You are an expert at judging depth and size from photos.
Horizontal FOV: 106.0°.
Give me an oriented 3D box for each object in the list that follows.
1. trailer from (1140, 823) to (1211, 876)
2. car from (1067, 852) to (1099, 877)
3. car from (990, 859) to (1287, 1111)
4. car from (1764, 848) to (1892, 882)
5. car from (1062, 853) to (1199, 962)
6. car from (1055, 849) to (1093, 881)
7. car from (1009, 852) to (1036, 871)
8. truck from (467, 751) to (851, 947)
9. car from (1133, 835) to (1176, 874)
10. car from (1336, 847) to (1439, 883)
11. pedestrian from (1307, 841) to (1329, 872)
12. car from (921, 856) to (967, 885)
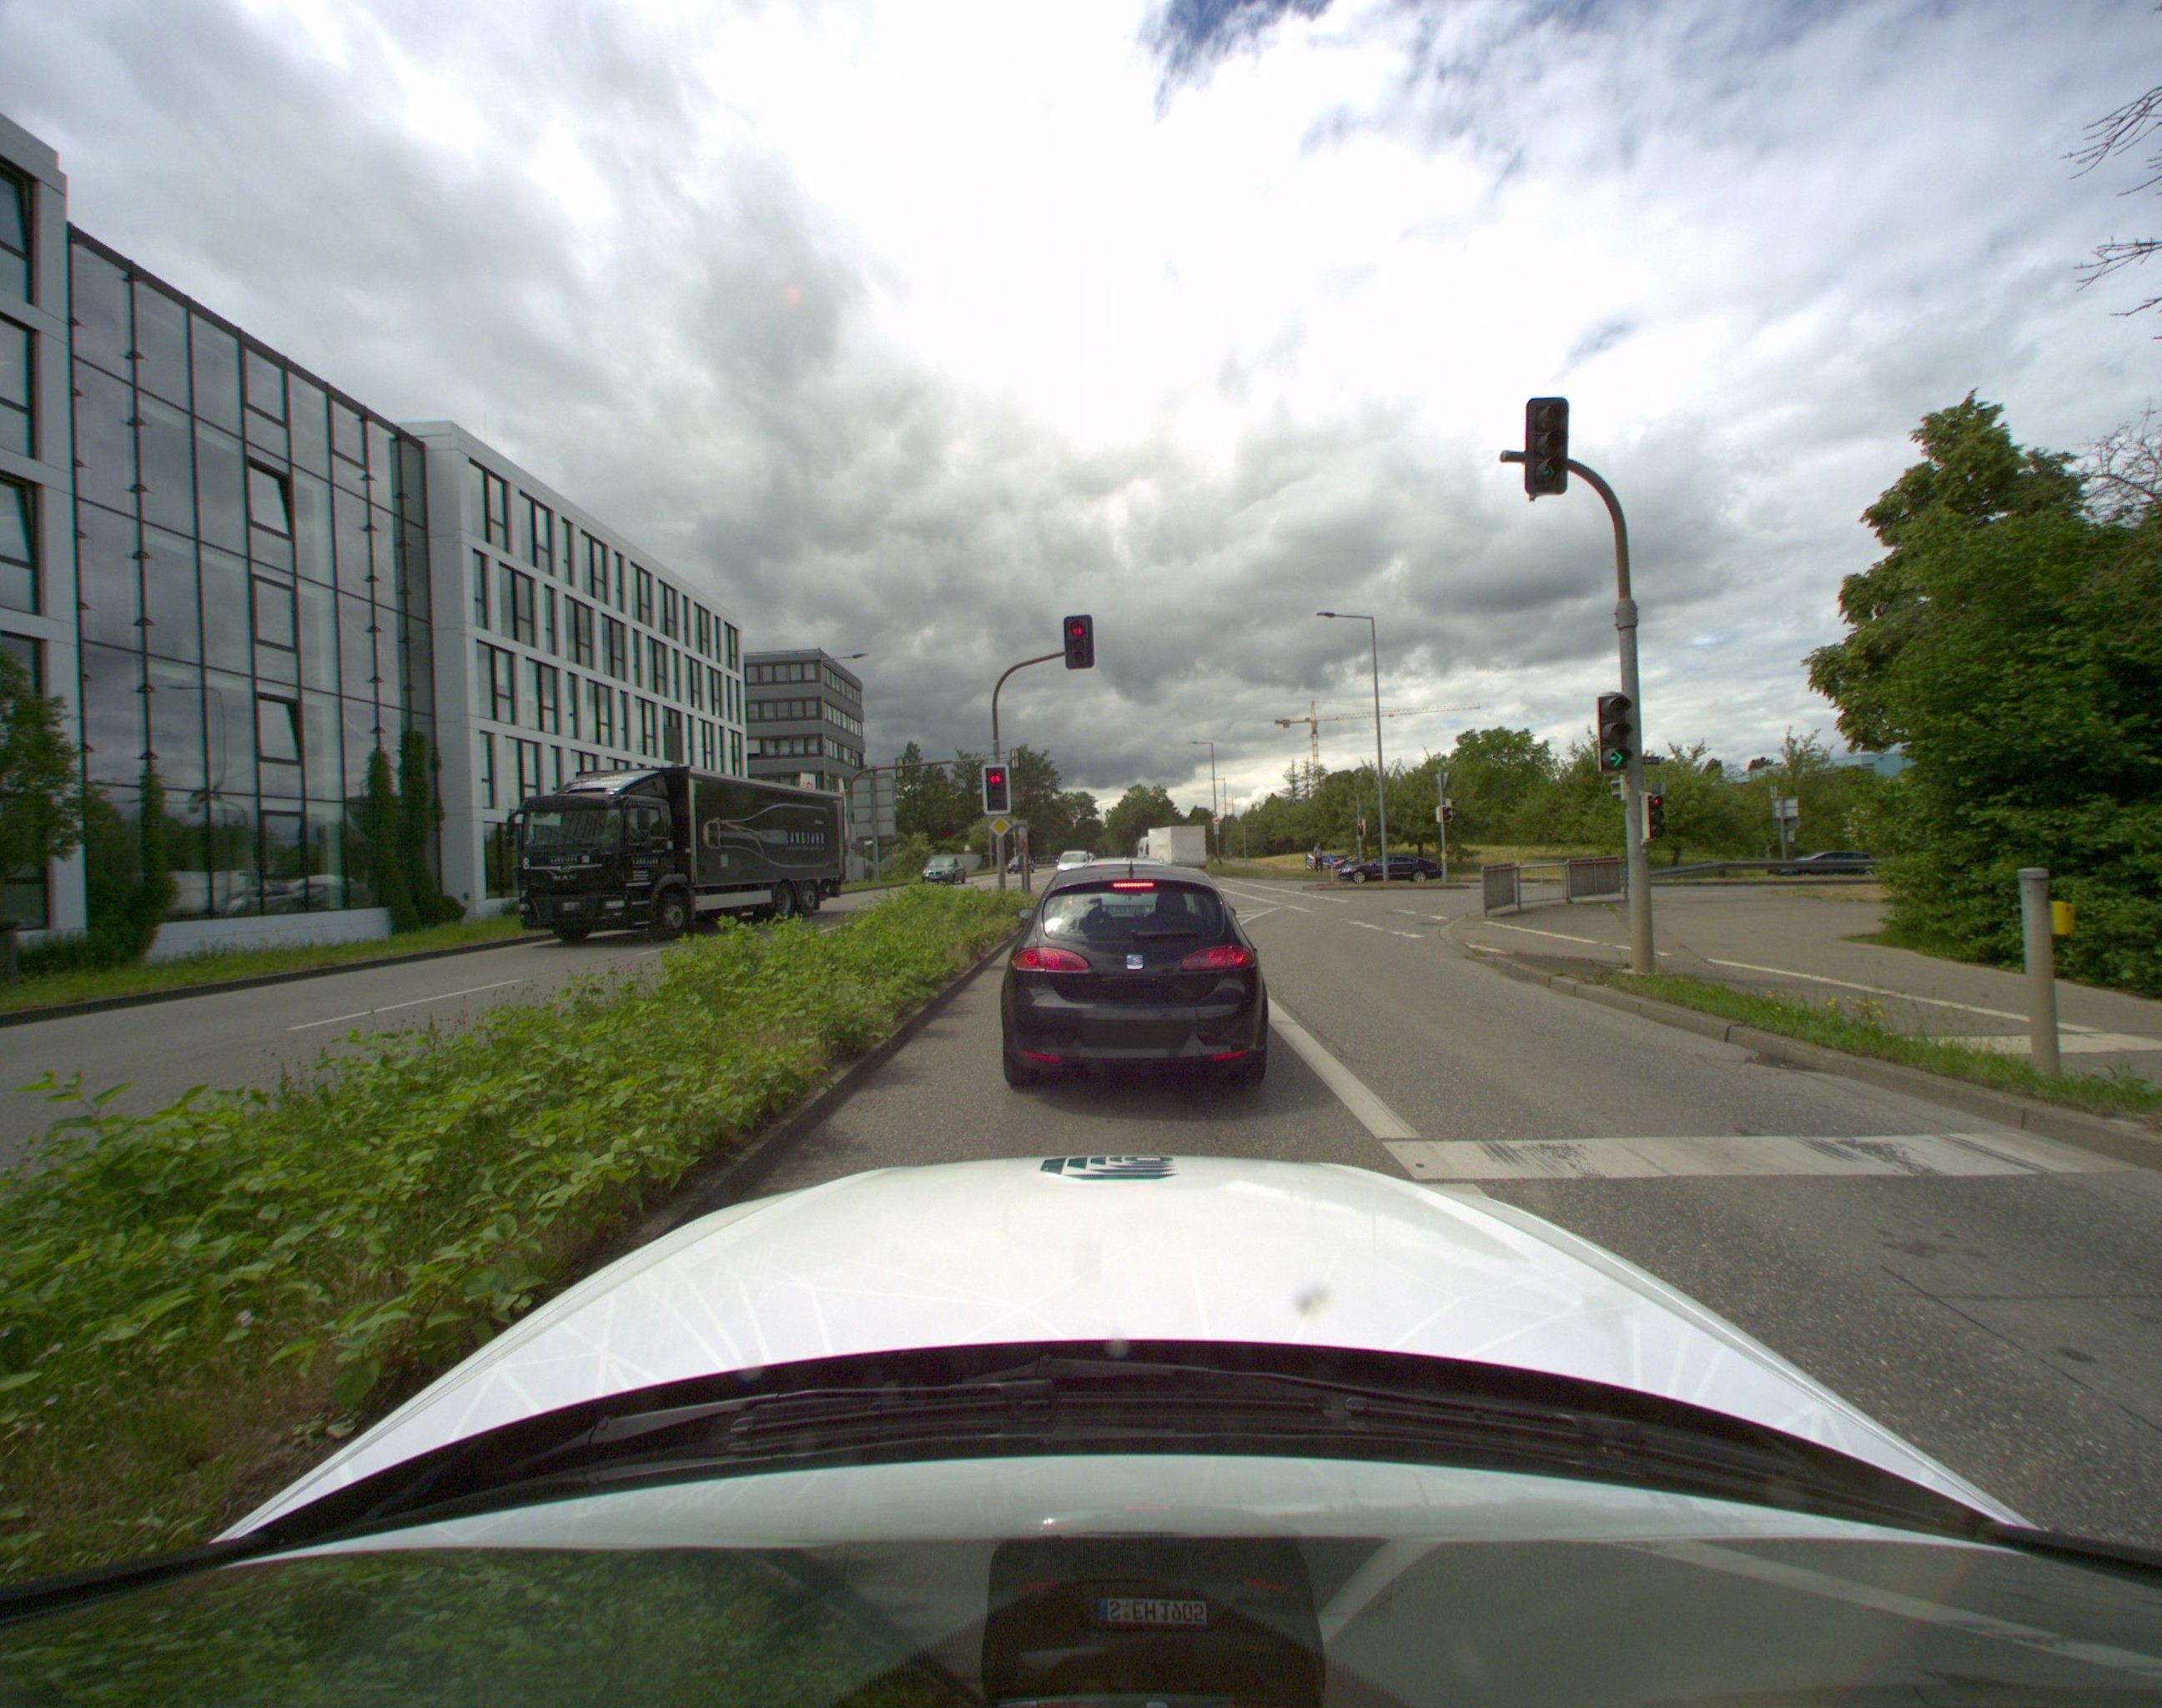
[{"bbox_3d":[5.725,-0.215,50.233,2.495,3.073,5.558,0,-1,-15],"label":"trailer"},{"bbox_3d":[0.191,0.646,52.431,1.652,1.518,4.091,-1,0,6],"label":"car"},{"bbox_3d":[0.392,0.769,6.454,1.704,1.417,3.461,-1,0,2],"label":"car"},{"bbox_3d":[33.132,0.504,36.236,3.854,1.446,1.765,-1,-1,11],"label":"car"},{"bbox_3d":[0.767,0.735,12.826,1.827,1.467,3.754,0,0,3],"label":"car"},{"bbox_3d":[-0.357,0.598,46.362,1.812,1.686,4.650,0,0,4],"label":"car"},{"bbox_3d":[-4.725,0.598,66.001,1.546,1.419,3.902,-1,0,5],"label":"car"},{"bbox_3d":[-9.070,-0.117,19.568,3.149,3.518,9.549,0,0,8],"label":"truck"},{"bbox_3d":[4.971,0.067,55.959,2.122,2.518,5.826,0,-1,-4],"label":"car"},{"bbox_3d":[14.717,0.524,39.308,4.424,1.565,2.008,-1,0,14],"label":"car"},{"bbox_3d":[13.852,0.146,47.564,0.721,1.793,1.035,0,-1,-25],"label":"pedestrian"},{"bbox_3d":[-7.305,0.846,43.753,1.598,1.432,3.757,-1,0,4],"label":"car"}]
